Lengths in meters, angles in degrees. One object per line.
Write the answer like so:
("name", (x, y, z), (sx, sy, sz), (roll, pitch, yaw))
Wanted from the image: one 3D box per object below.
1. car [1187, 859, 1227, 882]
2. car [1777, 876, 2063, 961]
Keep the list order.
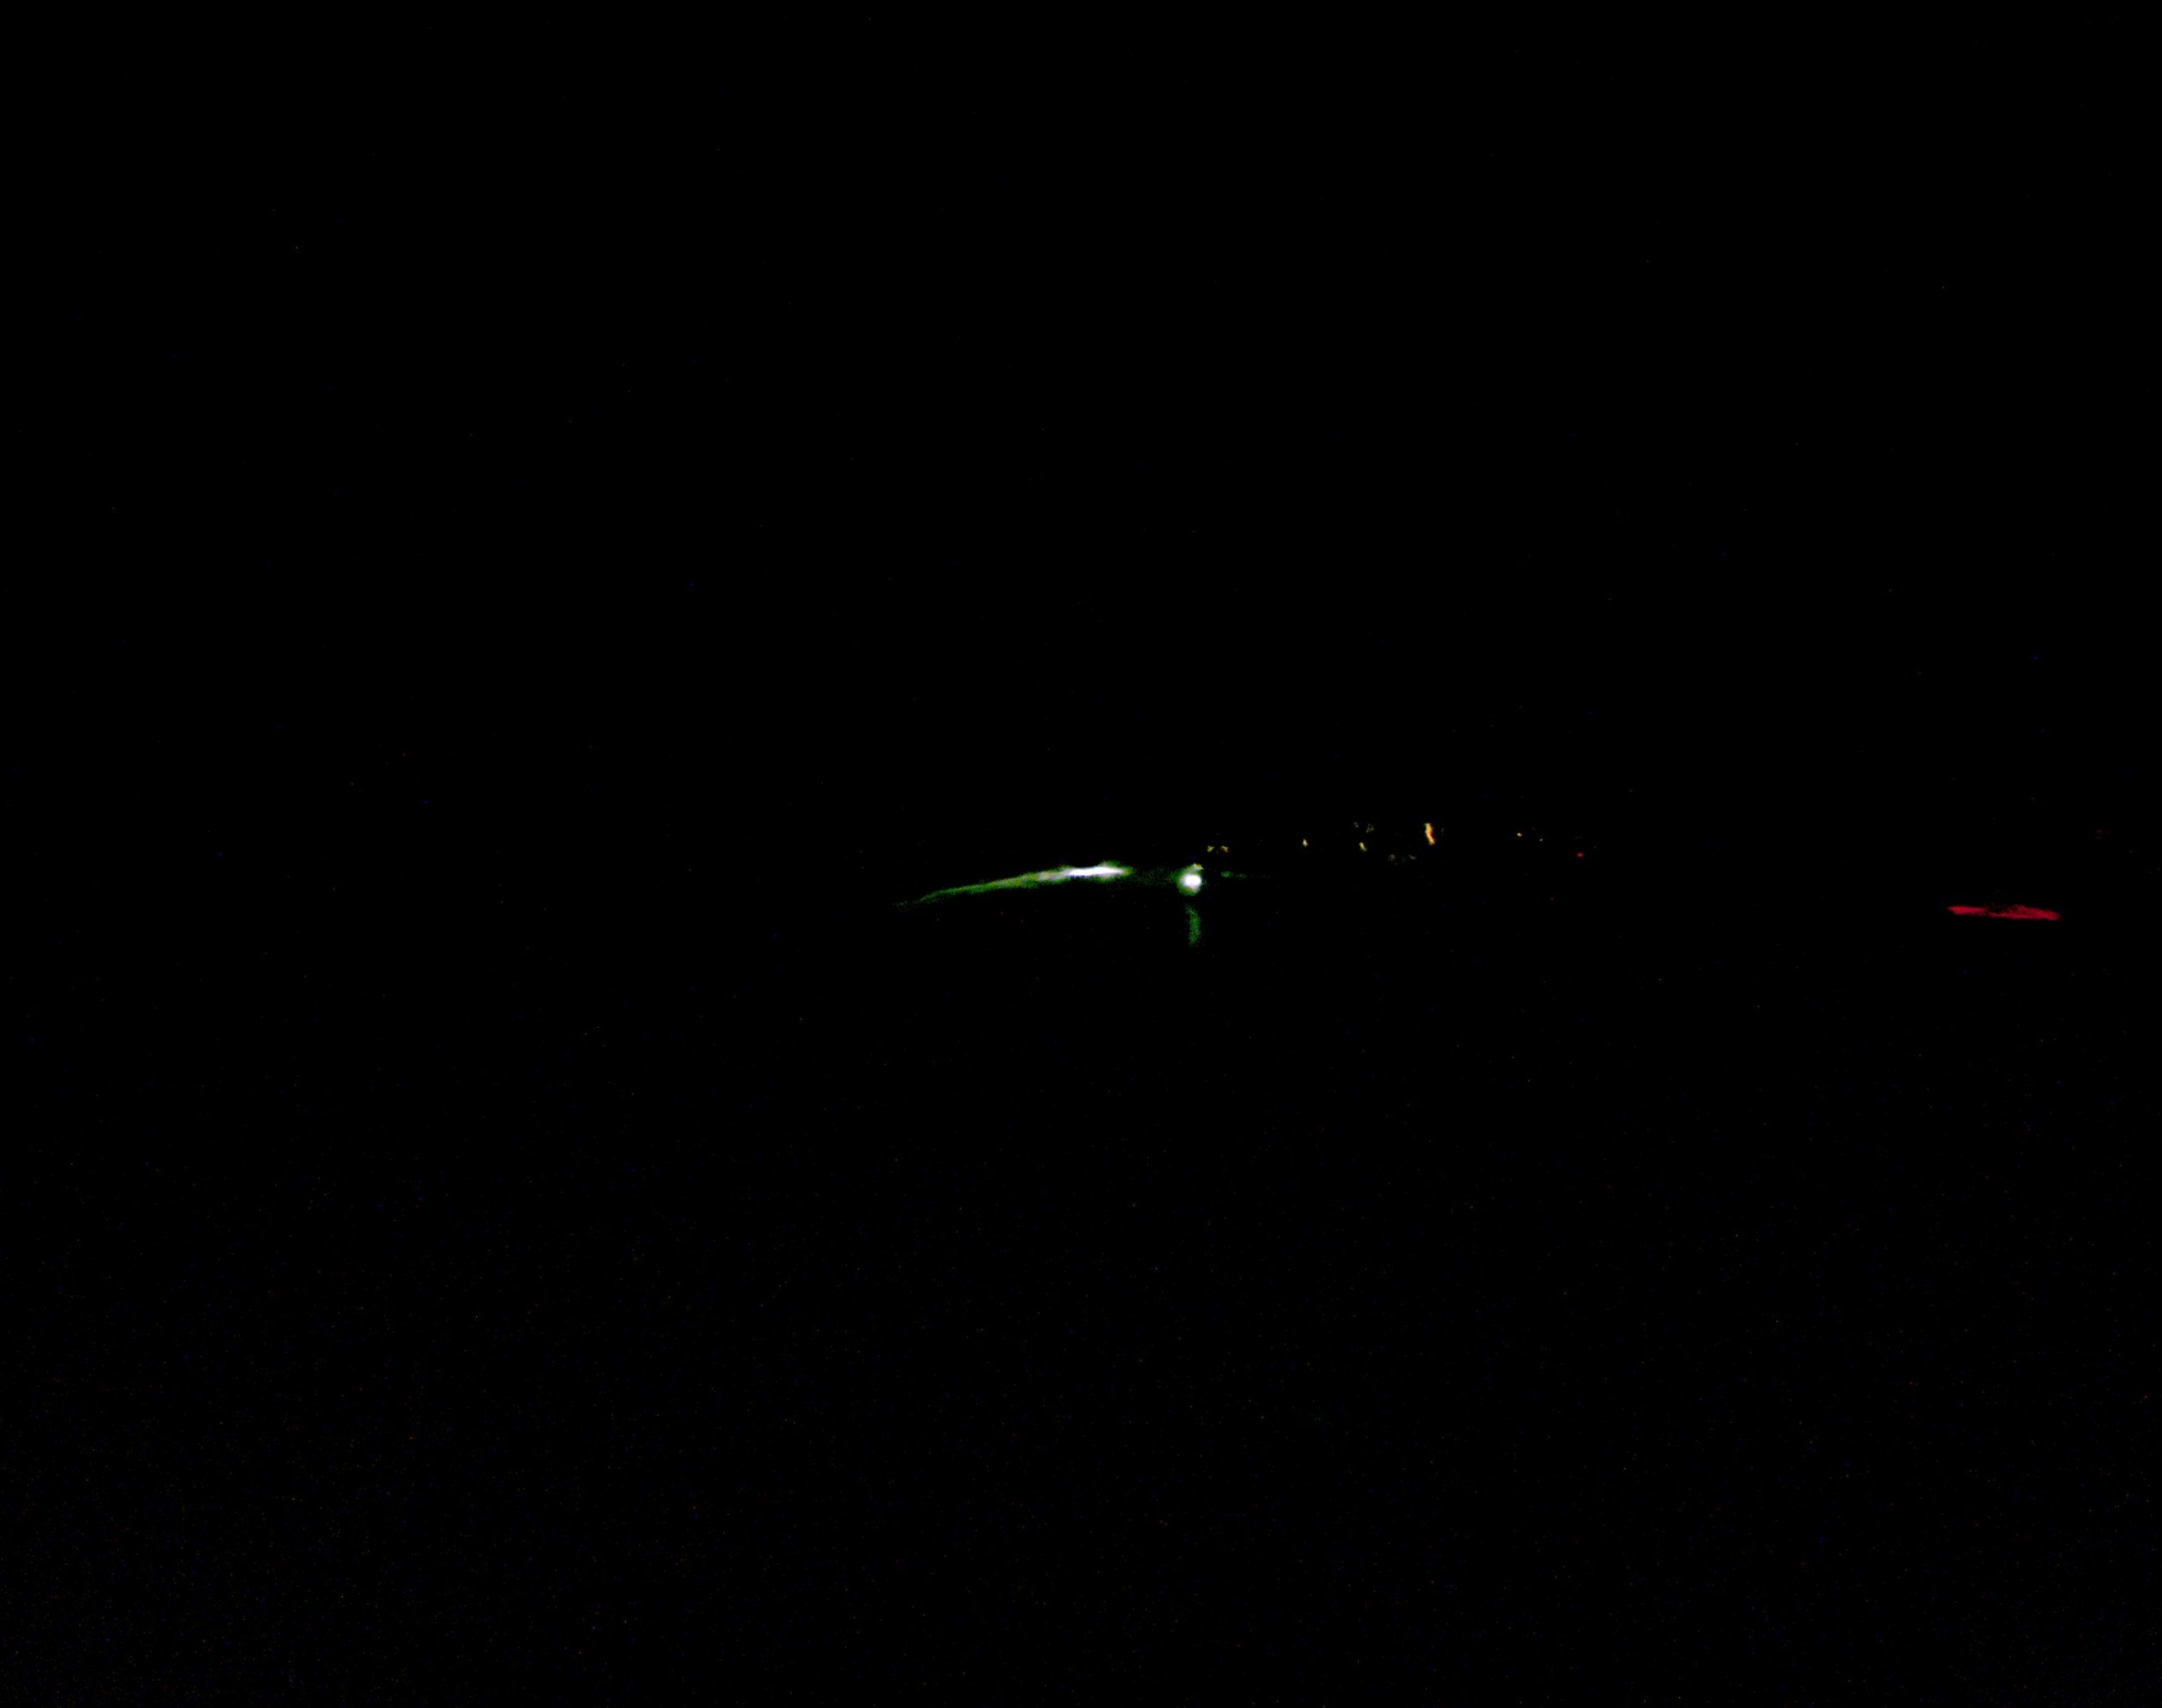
("car", (10.083, 1.309, 60.403), (1.995, 1.737, 4.108), (-1, -1, 27))
("car", (18.784, 1.350, 17.254), (1.762, 1.630, 3.993), (0, -1, -23))
